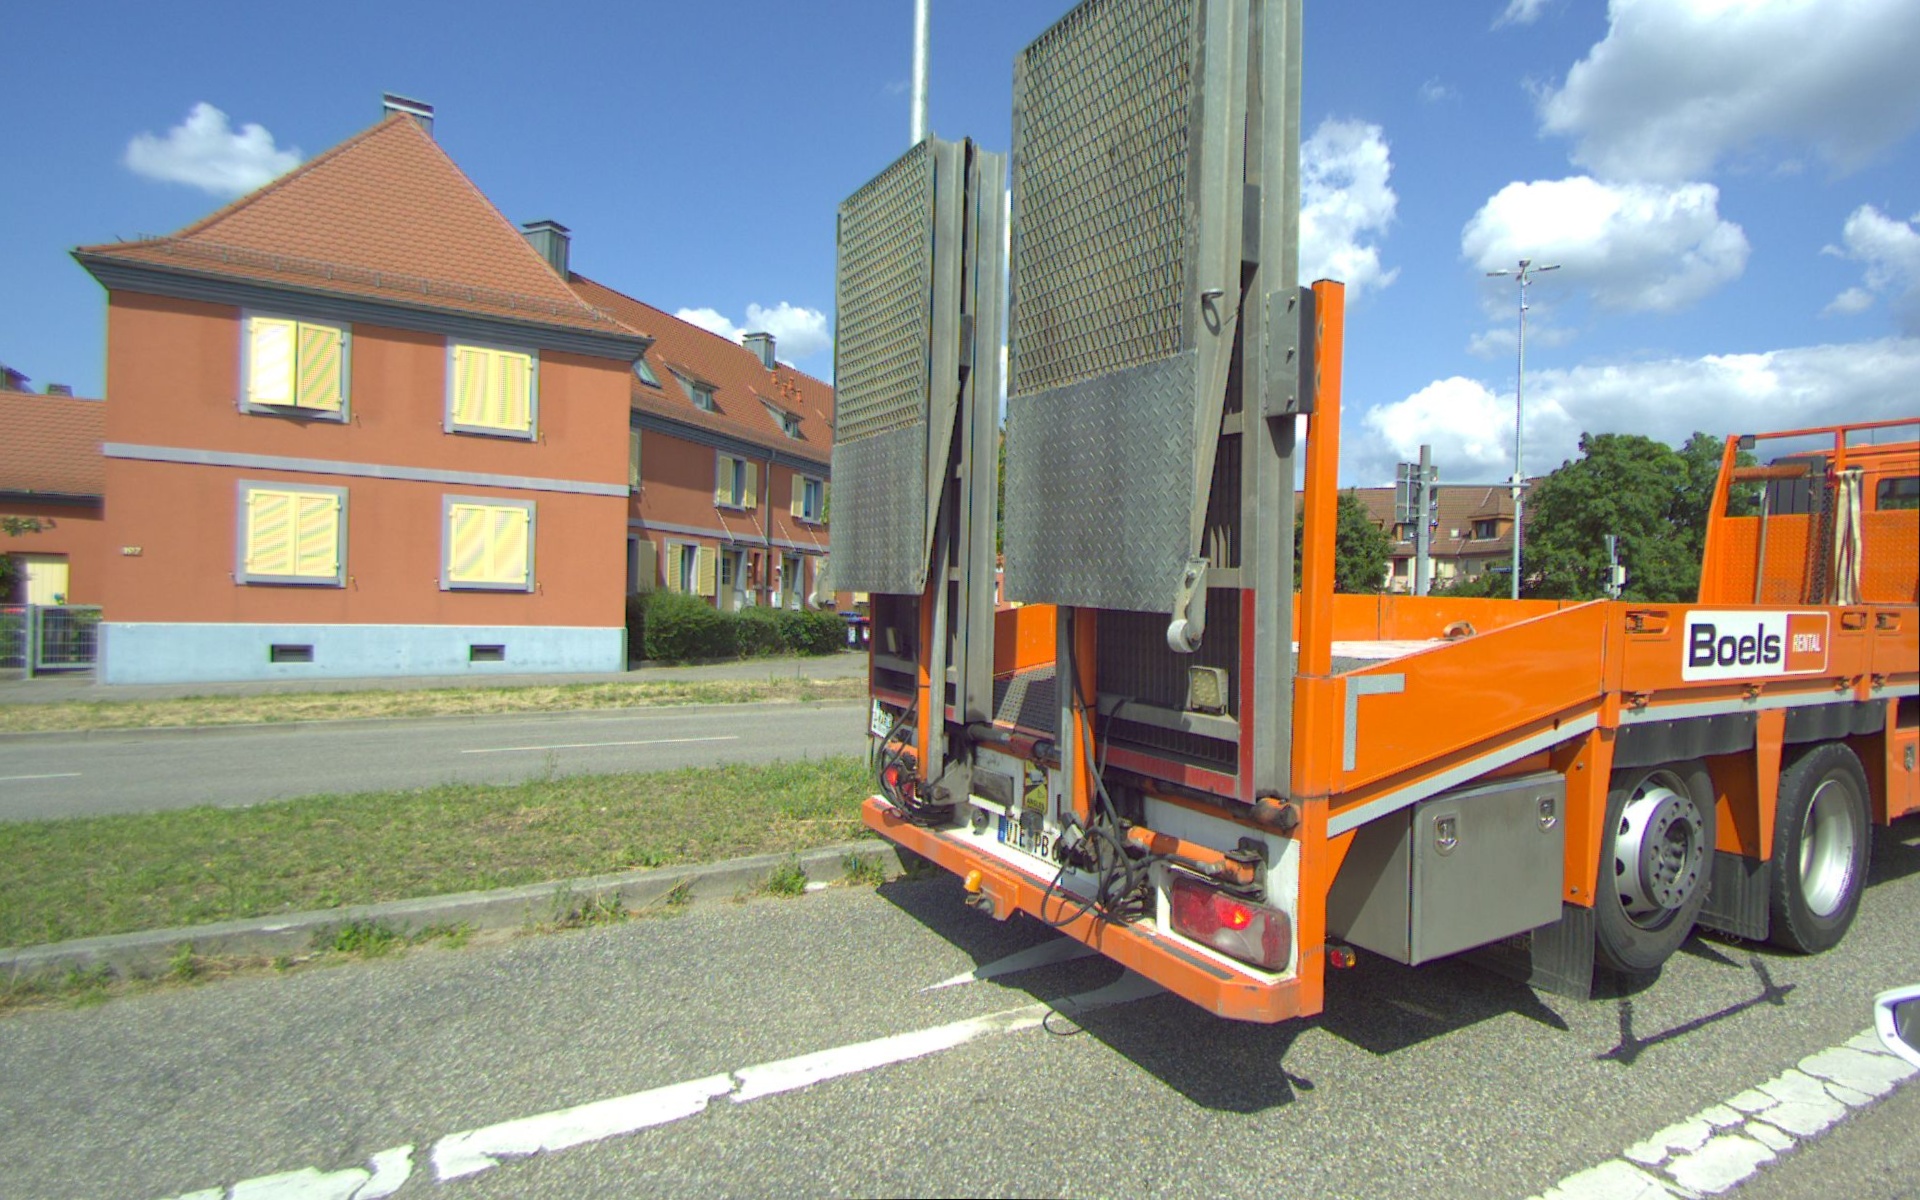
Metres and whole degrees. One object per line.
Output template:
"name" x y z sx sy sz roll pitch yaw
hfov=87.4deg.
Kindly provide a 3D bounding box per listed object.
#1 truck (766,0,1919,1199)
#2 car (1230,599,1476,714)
"truck" 4.603 -0.263 6.170 10.944 3.460 3.054 2 1 -32
"car" 6.540 0.878 16.635 3.954 1.711 1.785 1 -1 -31
